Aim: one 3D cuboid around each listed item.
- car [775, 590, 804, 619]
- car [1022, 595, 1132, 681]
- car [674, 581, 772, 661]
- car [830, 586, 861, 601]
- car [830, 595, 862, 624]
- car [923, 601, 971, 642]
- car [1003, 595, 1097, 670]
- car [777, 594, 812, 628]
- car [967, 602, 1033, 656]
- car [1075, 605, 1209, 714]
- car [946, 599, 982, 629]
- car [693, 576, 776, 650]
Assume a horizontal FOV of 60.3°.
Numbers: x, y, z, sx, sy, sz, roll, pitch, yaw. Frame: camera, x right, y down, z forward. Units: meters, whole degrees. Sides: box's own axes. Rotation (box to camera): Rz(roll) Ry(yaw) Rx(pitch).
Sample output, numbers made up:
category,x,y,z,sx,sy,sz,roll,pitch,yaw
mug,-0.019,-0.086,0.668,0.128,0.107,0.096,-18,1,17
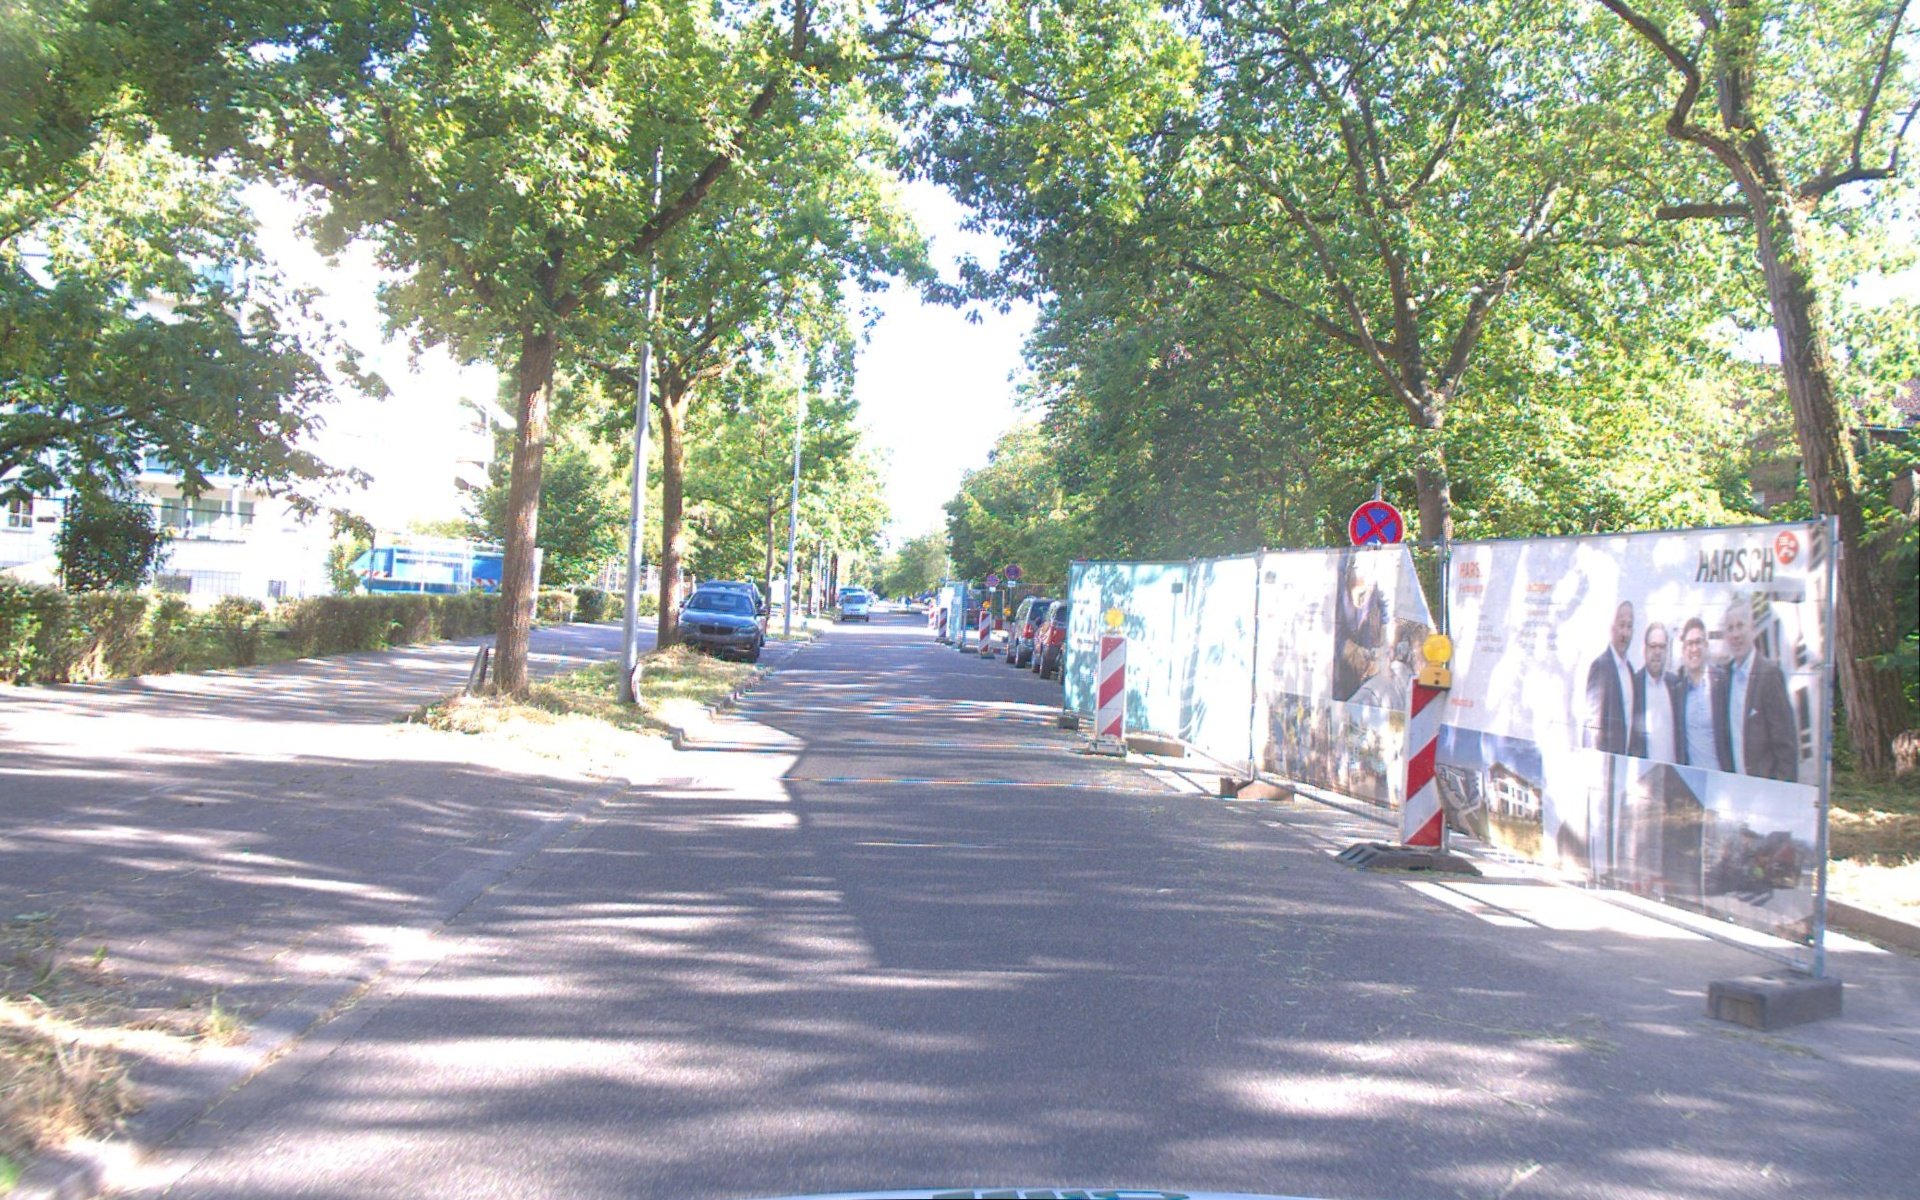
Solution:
category,x,y,z,sx,sy,sz,roll,pitch,yaw
car,-8.450,0.239,82.085,1.335,1.325,3.477,4,-1,-5
car,2.411,0.759,34.860,1.719,1.623,3.654,3,0,-4
car,-4.978,0.418,35.139,1.716,1.503,3.833,3,0,-4
car,-14.466,-0.811,208.251,3.647,1.720,1.575,4,0,-14
car,-6.848,0.569,99.053,1.678,1.612,3.994,4,-1,-7
car,-0.491,0.745,58.263,1.335,1.325,3.477,4,-1,-5
car,2.111,0.740,39.526,1.719,1.623,3.654,3,0,-4
car,-7.029,0.487,70.424,1.335,1.325,3.477,4,-1,-5
car,1.067,0.785,45.376,1.335,1.325,3.477,4,-1,-5
car,2.784,0.884,25.815,1.471,1.503,3.055,3,0,-4
car,0.214,0.731,88.305,1.758,1.434,3.999,3,0,-1
car,-5.689,0.308,42.106,1.655,1.704,3.500,3,0,-2
